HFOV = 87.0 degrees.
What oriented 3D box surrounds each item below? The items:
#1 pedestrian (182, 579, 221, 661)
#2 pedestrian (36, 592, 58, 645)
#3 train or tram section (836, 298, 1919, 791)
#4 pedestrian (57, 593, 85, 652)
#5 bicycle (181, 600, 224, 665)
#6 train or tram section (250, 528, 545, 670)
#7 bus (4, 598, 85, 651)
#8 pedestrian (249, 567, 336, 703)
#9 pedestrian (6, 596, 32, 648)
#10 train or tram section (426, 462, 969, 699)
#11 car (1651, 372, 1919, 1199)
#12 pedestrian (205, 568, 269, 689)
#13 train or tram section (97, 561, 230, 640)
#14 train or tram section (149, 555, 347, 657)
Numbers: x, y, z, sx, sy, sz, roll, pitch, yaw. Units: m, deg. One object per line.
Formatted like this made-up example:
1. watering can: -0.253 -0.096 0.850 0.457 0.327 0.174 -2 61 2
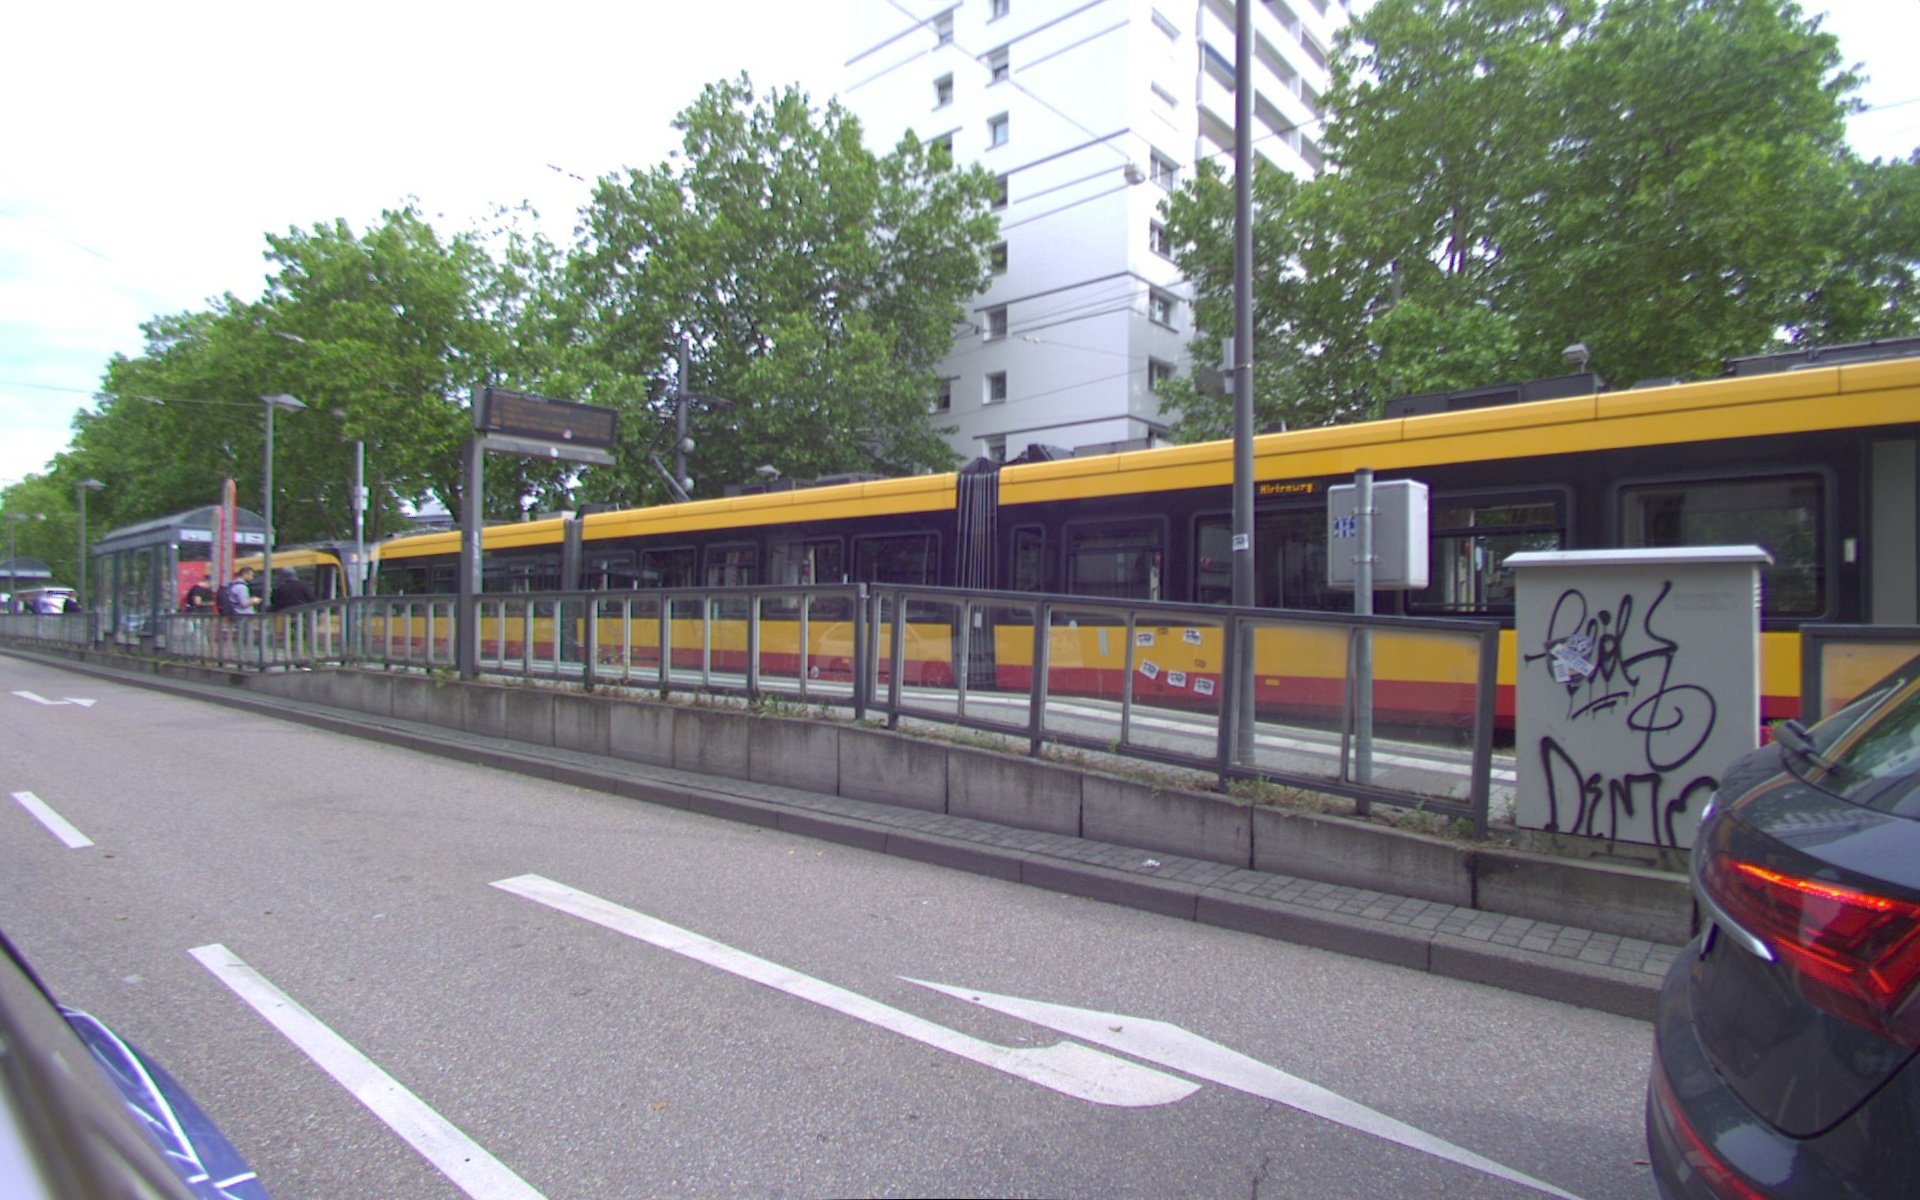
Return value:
1. pedestrian: -15.508 0.394 20.686 0.471 1.645 0.526 -1 0 39
2. pedestrian: -28.606 0.568 31.710 0.392 1.645 0.474 -1 0 42
3. train or tram section: 5.096 -0.393 11.128 15.841 3.615 3.028 -1 0 41
4. pedestrian: -25.119 0.629 28.606 0.730 1.645 0.506 -1 0 42
5. bicycle: -14.881 0.617 19.870 1.289 1.231 0.414 -1 0 41
6. train or tram section: -18.075 0.002 31.493 15.287 3.558 3.028 -1 0 41
7. bus: -36.698 0.940 40.542 3.998 2.029 1.973 -1 0 41
8. pedestrian: -10.179 0.522 15.457 0.808 2.029 0.754 -1 0 4
9. pedestrian: -37.065 0.869 39.865 0.587 2.029 0.668 -1 0 38
10. train or tram section: -6.585 -0.262 21.384 15.287 3.558 3.028 -1 0 41
11. car: 3.173 0.527 0.643 4.354 1.613 1.861 -1 0 40
12. pedestrian: -12.429 0.471 17.419 0.742 2.029 0.821 -1 0 -26
13. train or tram section: -40.392 0.036 51.050 12.534 3.588 3.060 -1 0 41
14. train or tram section: -29.738 0.237 41.727 15.764 3.558 3.028 -1 0 41
